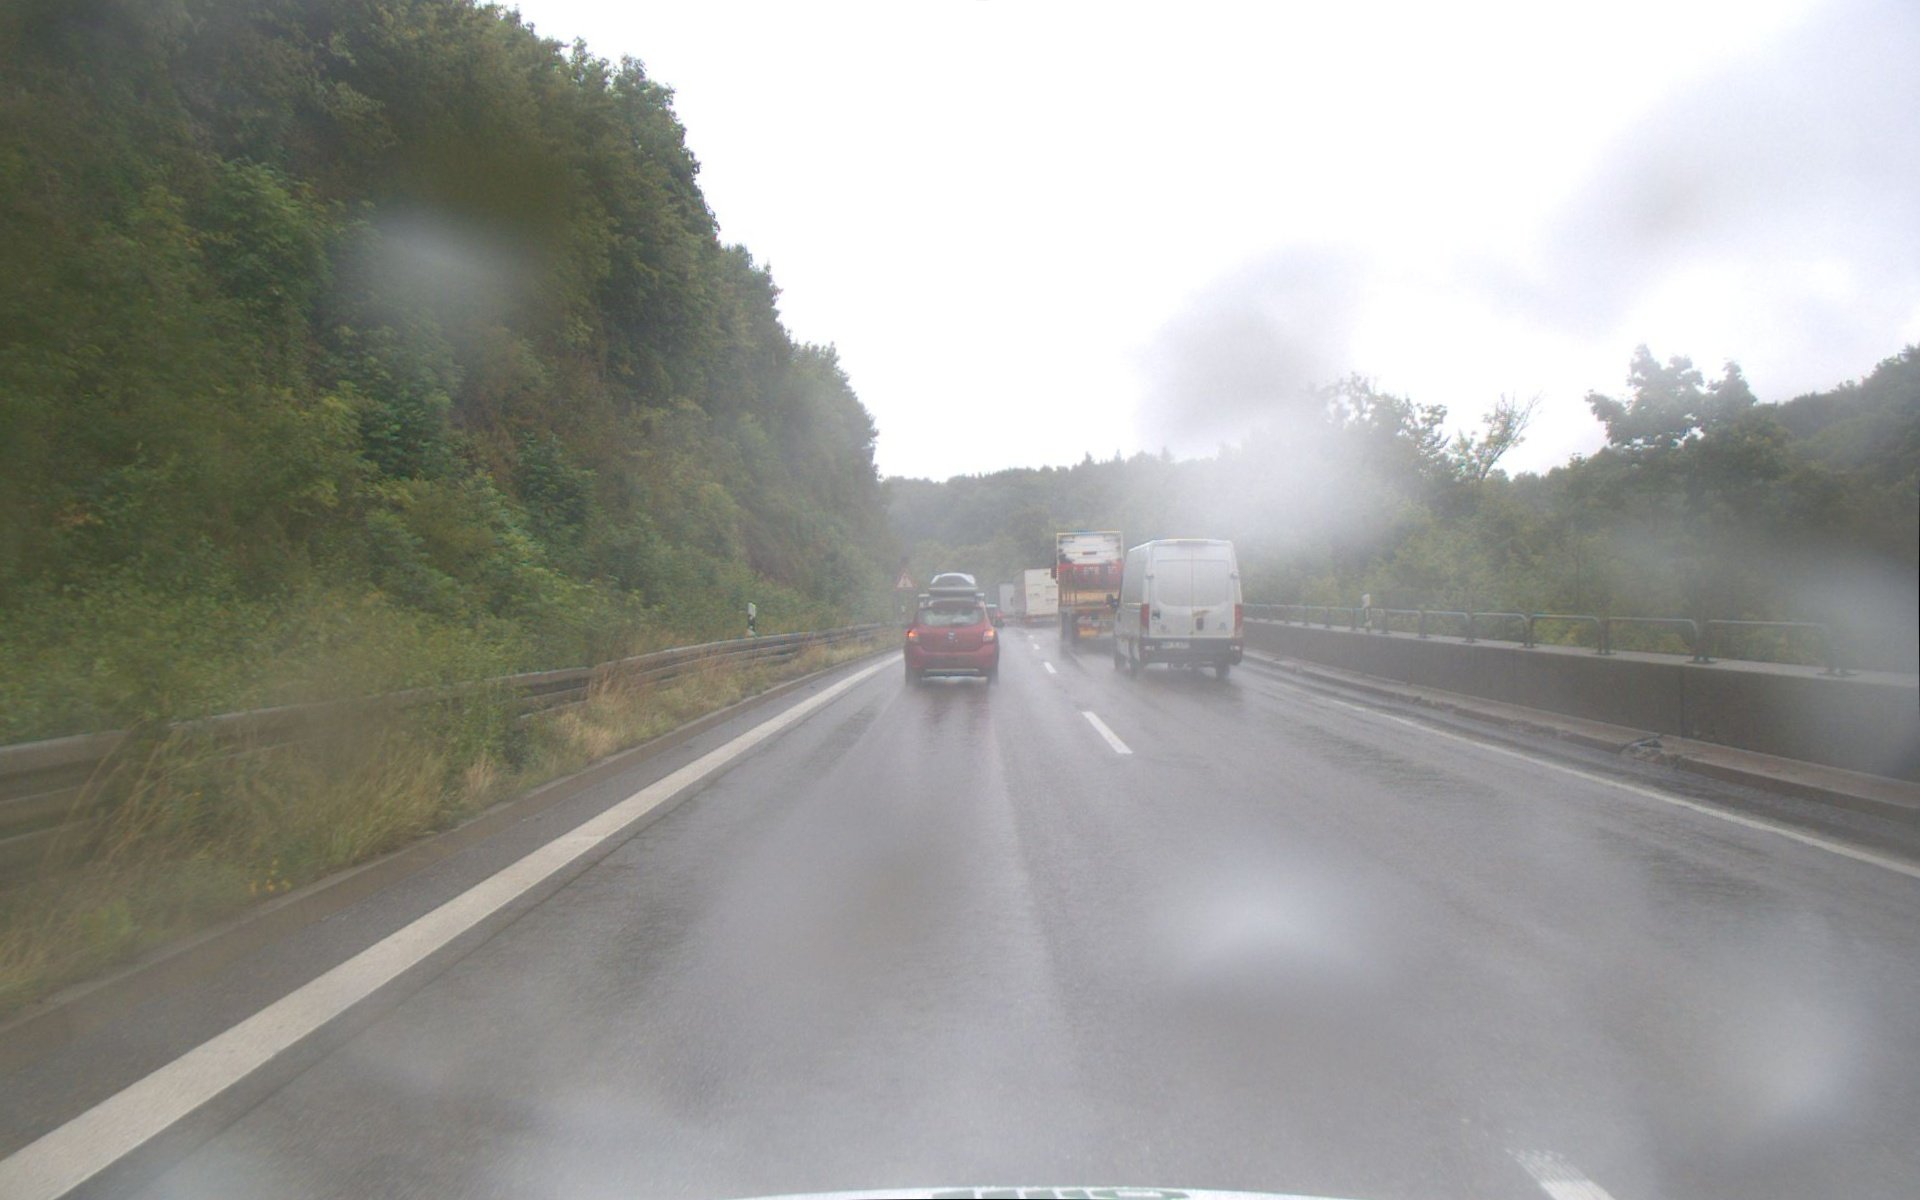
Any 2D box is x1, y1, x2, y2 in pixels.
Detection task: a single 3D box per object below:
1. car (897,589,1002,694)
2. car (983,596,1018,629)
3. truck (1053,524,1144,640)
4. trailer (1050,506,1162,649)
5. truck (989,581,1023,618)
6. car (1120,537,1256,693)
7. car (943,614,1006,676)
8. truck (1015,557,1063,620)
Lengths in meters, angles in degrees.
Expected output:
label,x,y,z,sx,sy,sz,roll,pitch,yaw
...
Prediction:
label,x,y,z,sx,sy,sz,roll,pitch,yaw
car,-0.137,0.724,30.639,1.722,1.714,4.000,-3,0,1
car,2.301,0.719,95.154,1.836,1.735,3.888,-3,0,0
truck,5.068,-0.639,61.337,3.152,4.047,5.441,-1,0,3
trailer,4.644,-0.637,54.676,3.151,4.069,13.529,-1,0,3
truck,4.250,-0.095,155.339,2.999,3.370,8.070,0,0,0
car,4.517,0.280,33.883,2.160,2.843,7.385,0,0,3
car,0.478,1.381,51.608,1.795,1.744,3.645,-3,0,1
truck,5.611,-0.750,118.230,2.633,4.165,9.313,-3,0,-1
